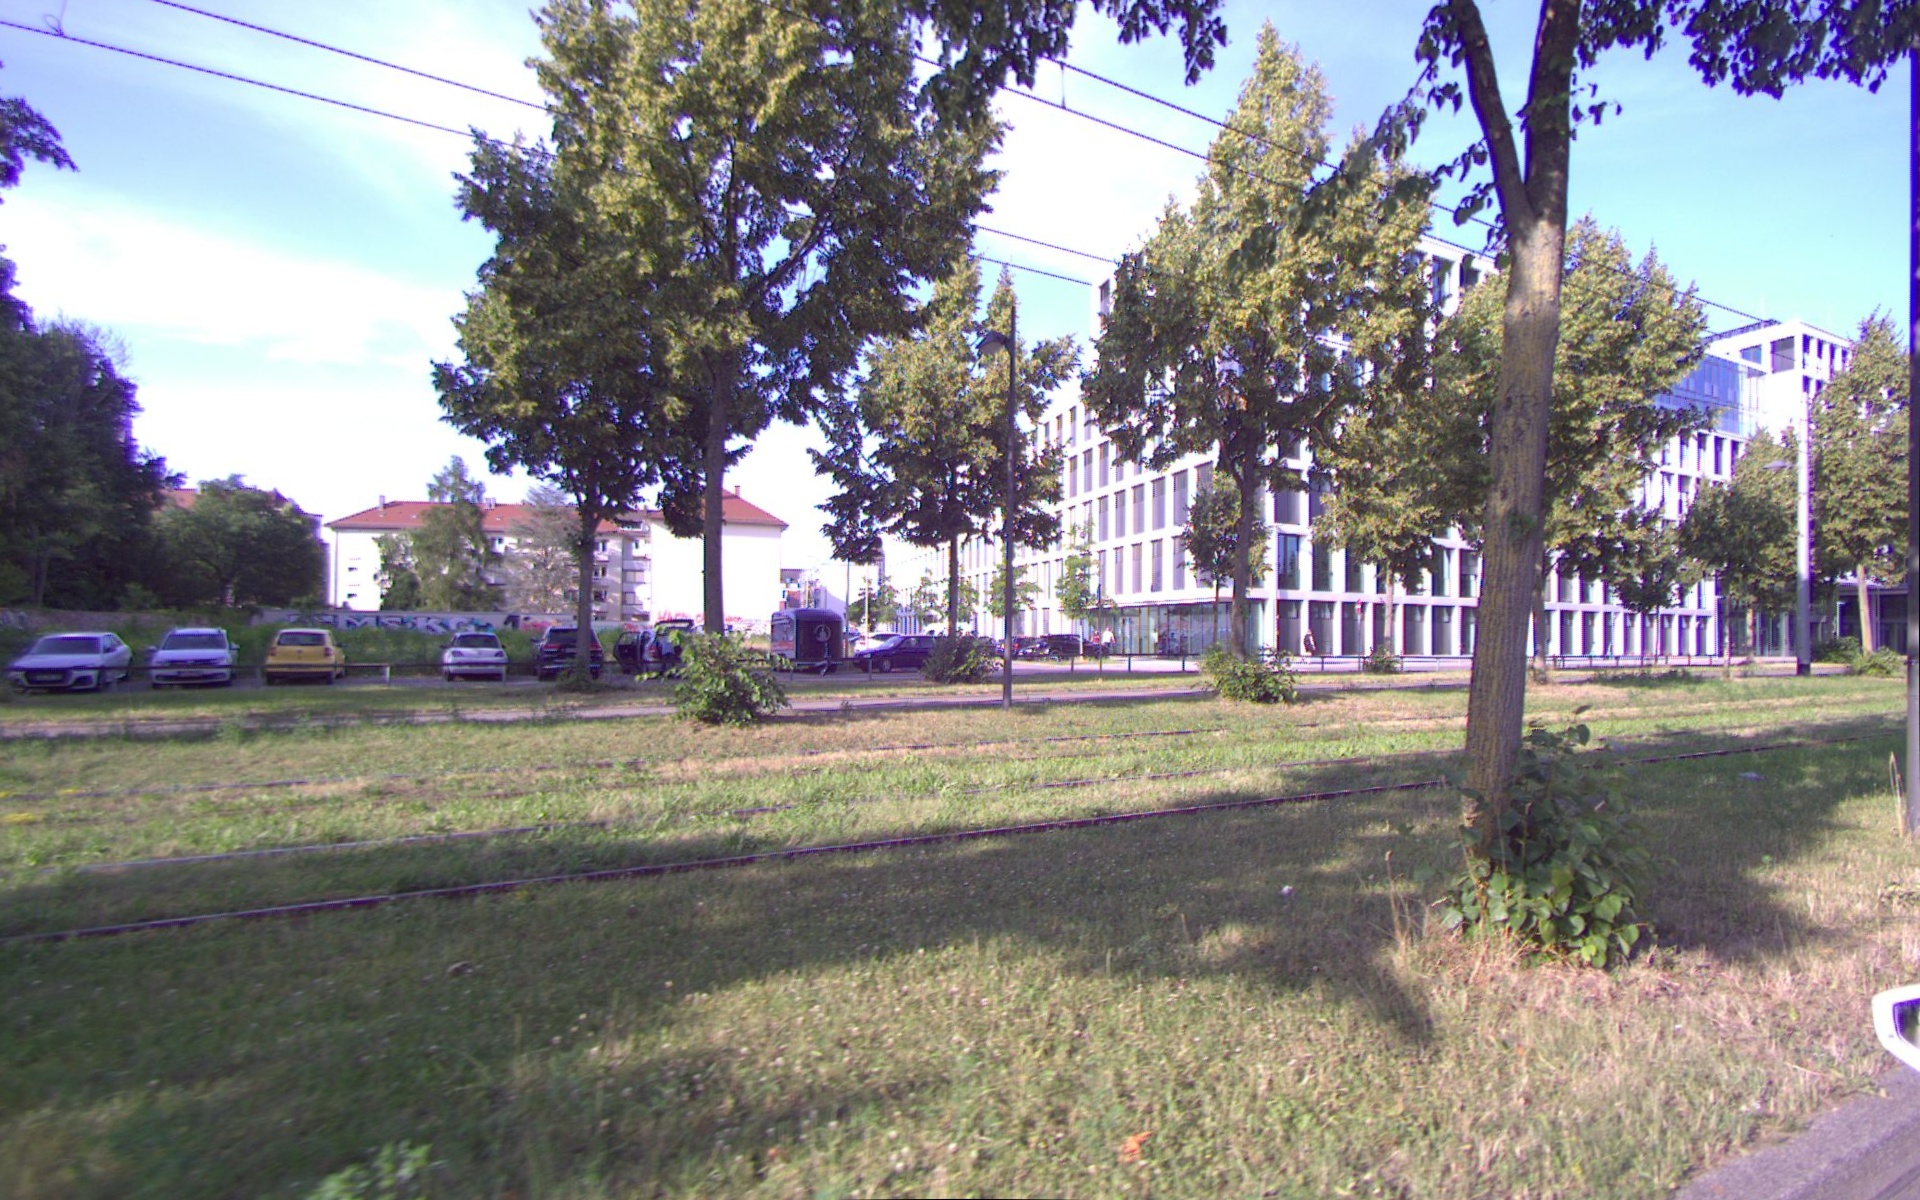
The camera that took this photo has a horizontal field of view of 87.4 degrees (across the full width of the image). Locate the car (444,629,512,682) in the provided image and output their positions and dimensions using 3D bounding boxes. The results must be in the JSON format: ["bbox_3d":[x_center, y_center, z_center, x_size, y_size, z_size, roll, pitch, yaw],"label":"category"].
[{"bbox_3d":[-15.265,1.711,31.747,1.705,1.444,3.551,2,0,-29],"label":"car"}]

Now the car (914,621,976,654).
[{"bbox_3d":[-1.319,3.176,85.607,4.945,2.566,1.806,2,0,-14],"label":"car"}]

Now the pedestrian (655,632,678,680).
[{"bbox_3d":[-9.470,1.804,32.363,0.562,1.500,0.519,2,0,-31],"label":"pedestrian"}]

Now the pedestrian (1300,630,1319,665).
[{"bbox_3d":[18.141,2.466,52.173,0.683,1.751,0.565,2,0,-31],"label":"pedestrian"}]

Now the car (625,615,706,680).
[{"bbox_3d":[-10.061,1.575,34.138,1.737,1.973,3.974,2,0,-29],"label":"car"}]

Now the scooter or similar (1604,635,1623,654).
[{"bbox_3d":[44.215,3.011,67.986,1.278,1.242,0.335,2,0,-17],"label":"scooter or similar"}]

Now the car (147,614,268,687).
[{"bbox_3d":[-21.085,1.360,28.357,1.862,1.758,5.040,2,0,-27],"label":"car"}]

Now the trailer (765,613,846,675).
[{"bbox_3d":[-5.890,1.617,37.921,1.735,2.081,4.348,2,0,-27],"label":"trailer"}]

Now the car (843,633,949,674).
[{"bbox_3d":[-2.450,2.058,38.789,3.723,1.412,1.669,2,0,-34],"label":"car"}]

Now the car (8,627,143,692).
[{"bbox_3d":[-23.045,1.522,26.325,1.787,1.447,3.633,2,0,-27],"label":"car"}]

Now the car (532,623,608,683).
[{"bbox_3d":[-12.623,1.669,32.377,1.737,1.665,3.974,2,0,-29],"label":"car"}]

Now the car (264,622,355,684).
[{"bbox_3d":[-19.099,1.508,29.640,1.832,1.581,3.971,2,0,-27],"label":"car"}]

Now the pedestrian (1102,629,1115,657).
[{"bbox_3d":[9.344,2.704,63.107,0.622,1.652,0.591,2,4,-6],"label":"pedestrian"}]

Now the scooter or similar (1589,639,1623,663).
[{"bbox_3d":[42.958,3.376,66.787,0.409,1.496,1.922,2,0,-26],"label":"scooter or similar"}]

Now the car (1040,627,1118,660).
[{"bbox_3d":[6.671,2.448,56.551,3.933,1.694,1.855,2,0,-15],"label":"car"}]

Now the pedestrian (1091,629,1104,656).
[{"bbox_3d":[8.605,2.678,63.064,0.622,1.652,0.591,2,4,-6],"label":"pedestrian"}]

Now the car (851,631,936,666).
[{"bbox_3d":[-3.378,2.474,50.974,3.939,1.617,1.846,2,0,-20],"label":"car"}]
